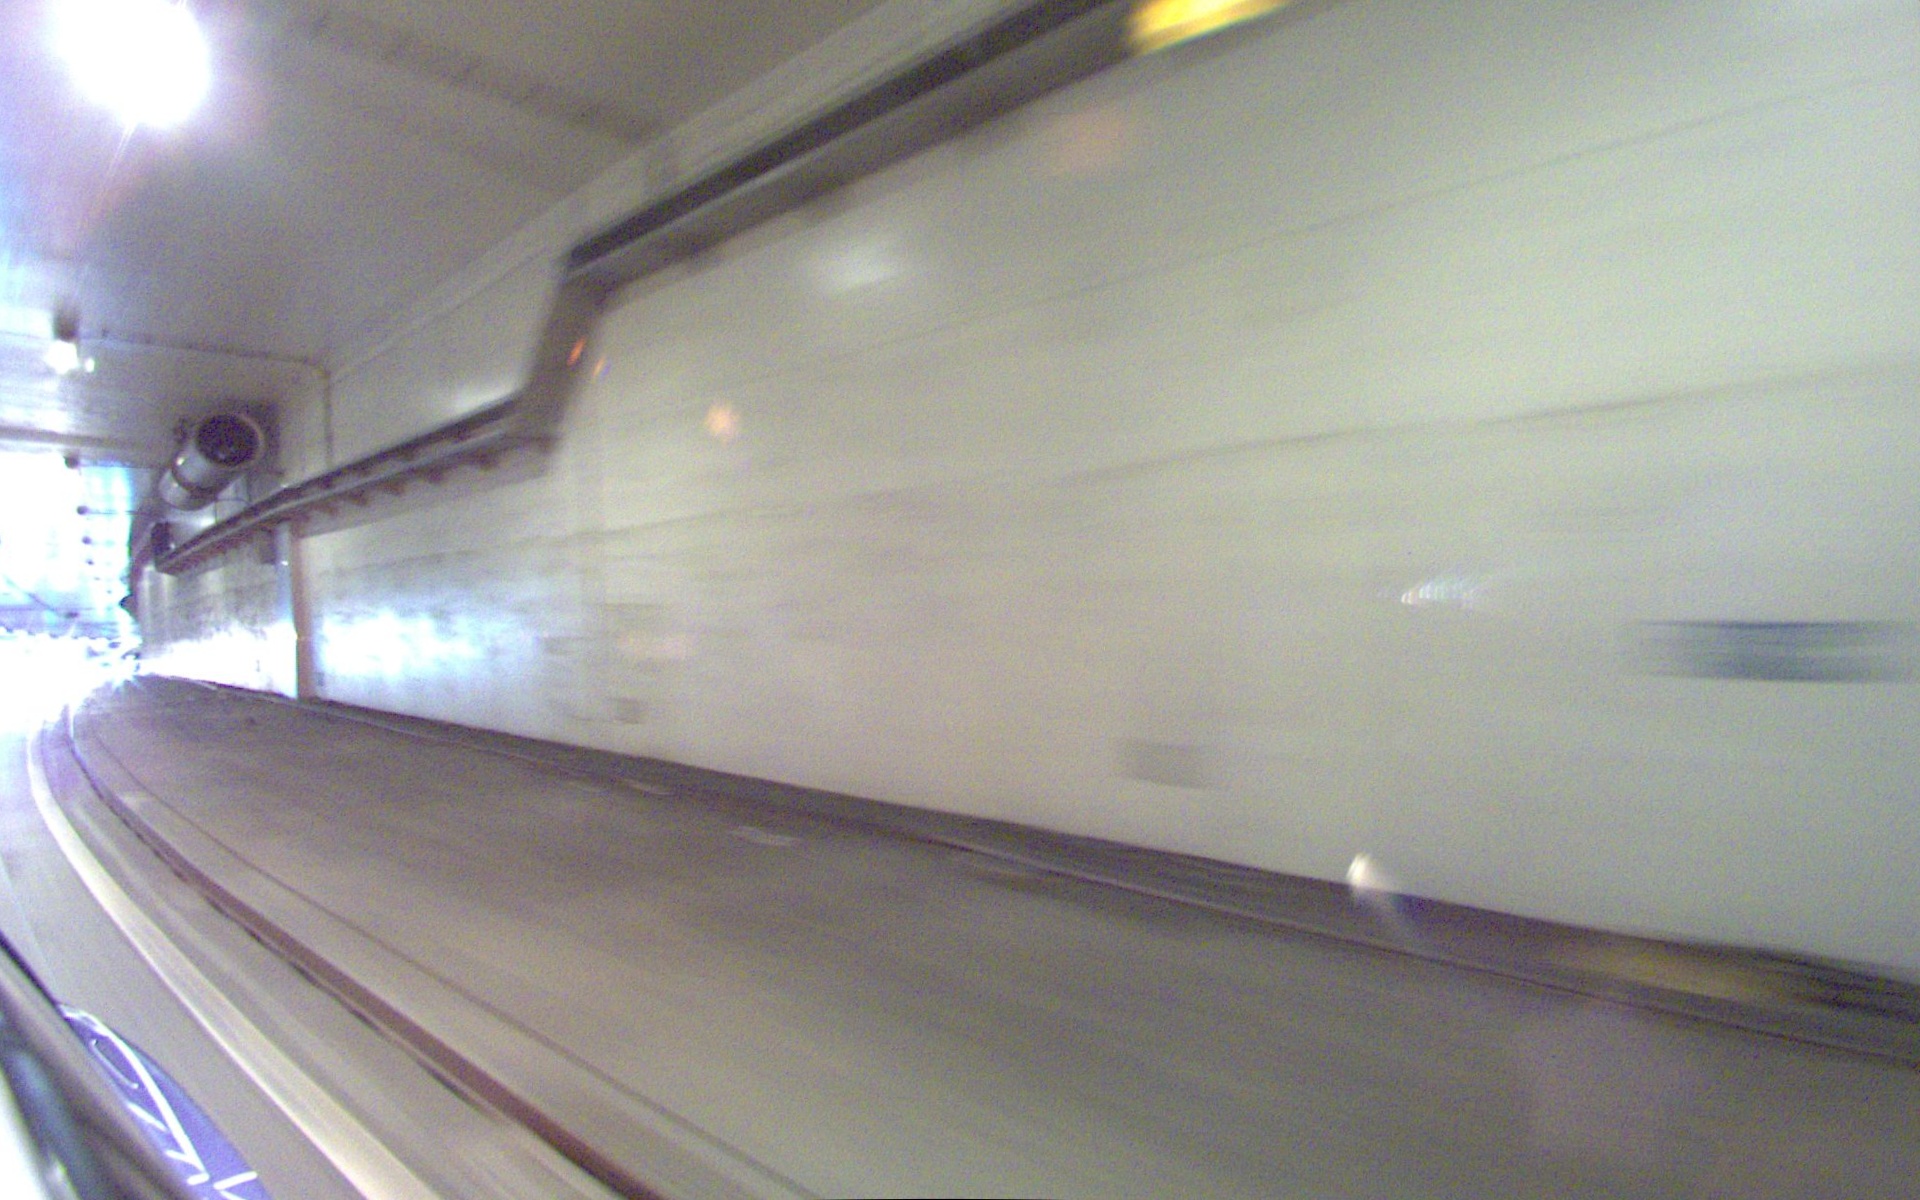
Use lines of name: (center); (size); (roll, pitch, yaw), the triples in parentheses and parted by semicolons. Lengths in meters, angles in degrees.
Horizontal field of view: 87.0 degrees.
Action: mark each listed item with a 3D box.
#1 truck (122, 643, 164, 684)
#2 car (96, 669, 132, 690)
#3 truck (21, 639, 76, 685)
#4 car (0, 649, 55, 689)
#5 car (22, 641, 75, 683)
truck: (-102.697, 7.887, 127.346); (2.841, 4.505, 10.482); (-4, 2, -33)
car: (-79.713, 7.473, 95.422); (1.919, 1.545, 4.012); (-4, 3, -32)
truck: (-58.910, 3.947, 65.473); (2.042, 2.558, 6.036); (-4, 2, -38)
car: (-41.652, 3.038, 45.218); (1.739, 1.572, 3.823); (-4, 1, -42)
car: (-49.435, 3.387, 54.947); (1.907, 1.944, 4.203); (-3, -3, -40)
